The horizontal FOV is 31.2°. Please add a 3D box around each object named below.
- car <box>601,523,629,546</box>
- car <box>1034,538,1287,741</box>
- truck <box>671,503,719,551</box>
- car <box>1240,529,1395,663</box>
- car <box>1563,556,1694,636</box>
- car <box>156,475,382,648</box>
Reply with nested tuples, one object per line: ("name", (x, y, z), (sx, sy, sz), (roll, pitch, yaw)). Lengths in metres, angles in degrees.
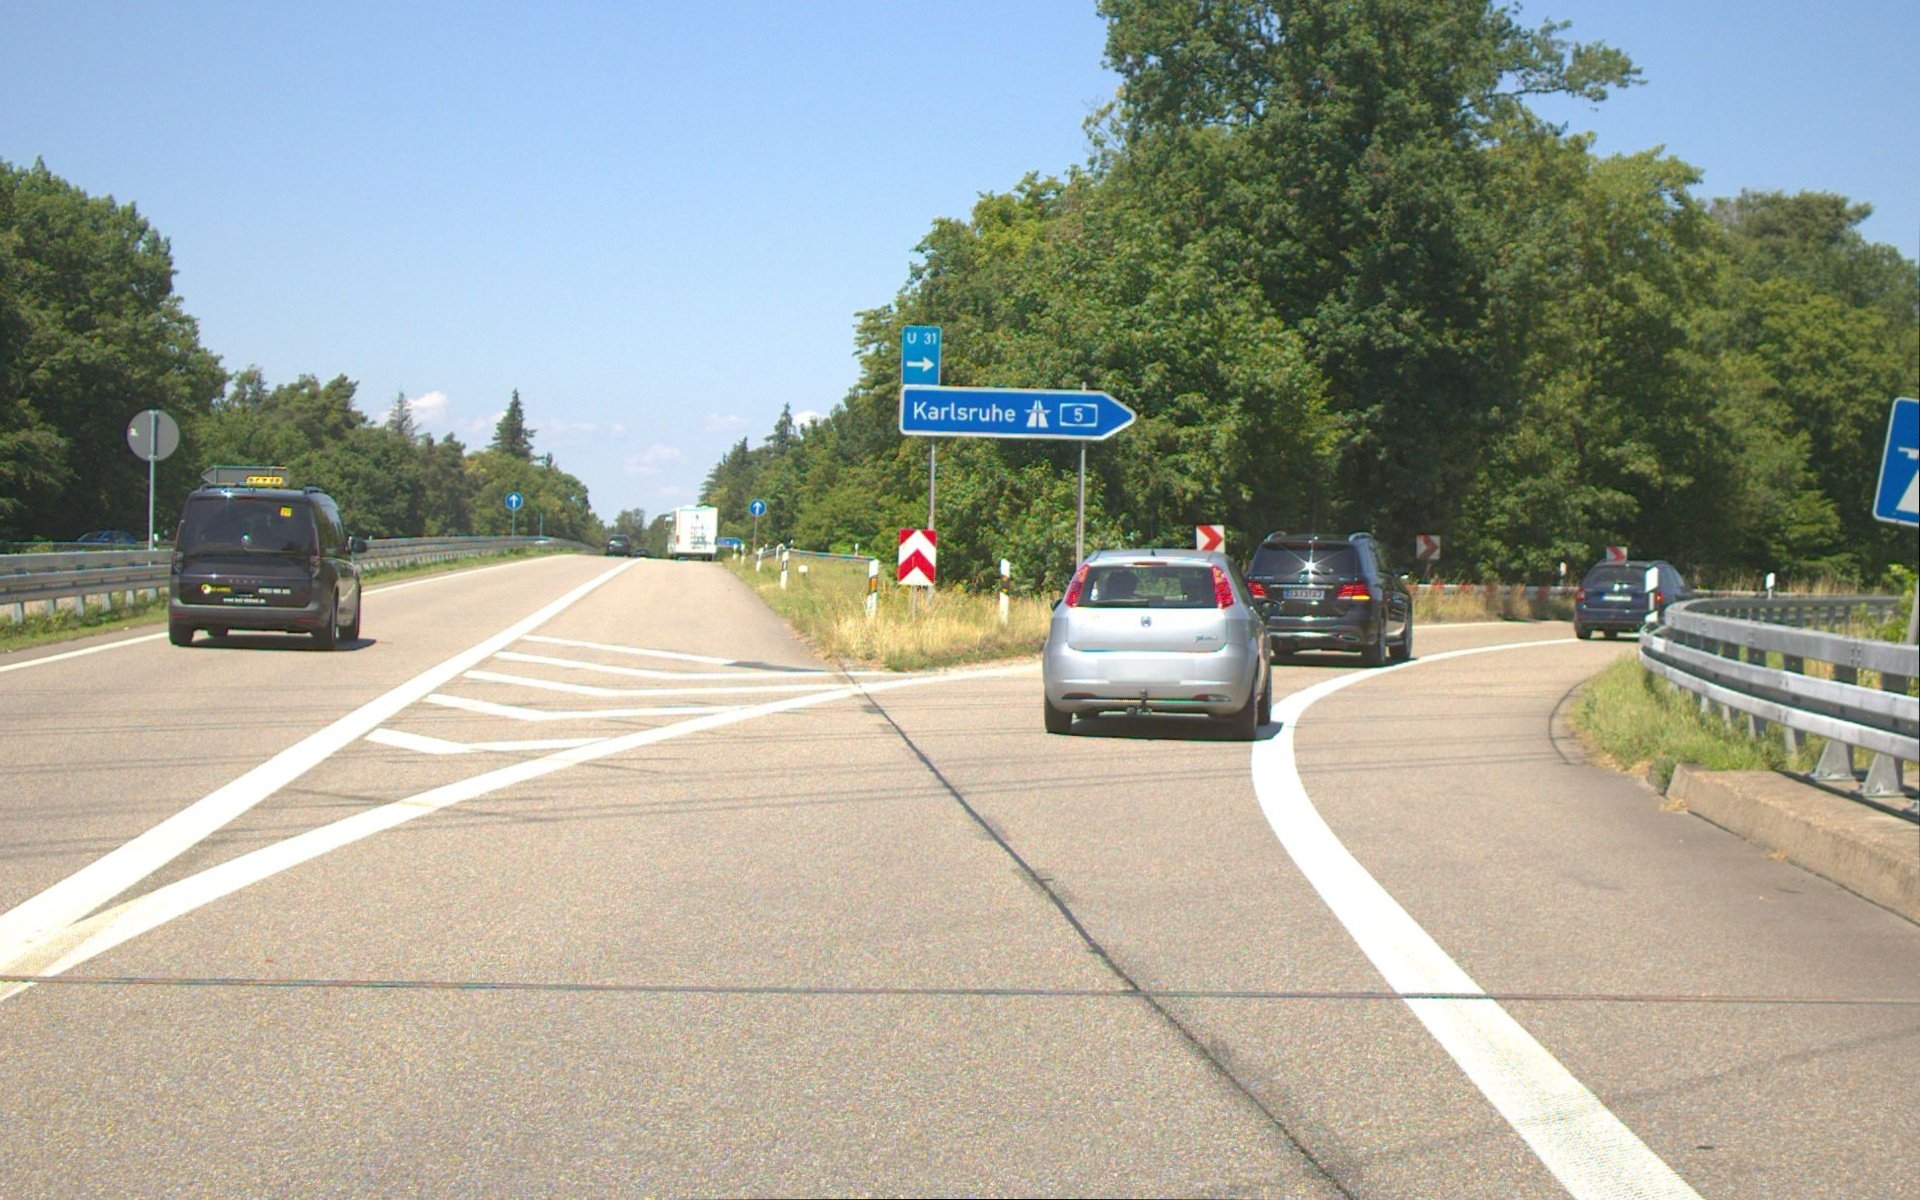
("car", (-23.486, -4.438, 234.285), (1.712, 1.466, 3.575), (3, 1, -4))
("car", (1.683, 0.277, 27.870), (1.641, 1.463, 3.418), (3, 1, 9))
("truck", (-14.969, -4.155, 194.282), (2.618, 2.633, 7.668), (1, 1, -5))
("car", (4.843, -0.069, 46.184), (1.641, 1.648, 3.572), (3, 1, 12))
("car", (12.214, -0.070, 62.683), (1.642, 1.338, 3.570), (3, 1, 22))
("car", (-7.983, -0.480, 40.175), (1.854, 1.880, 5.574), (0, 1, -4))
